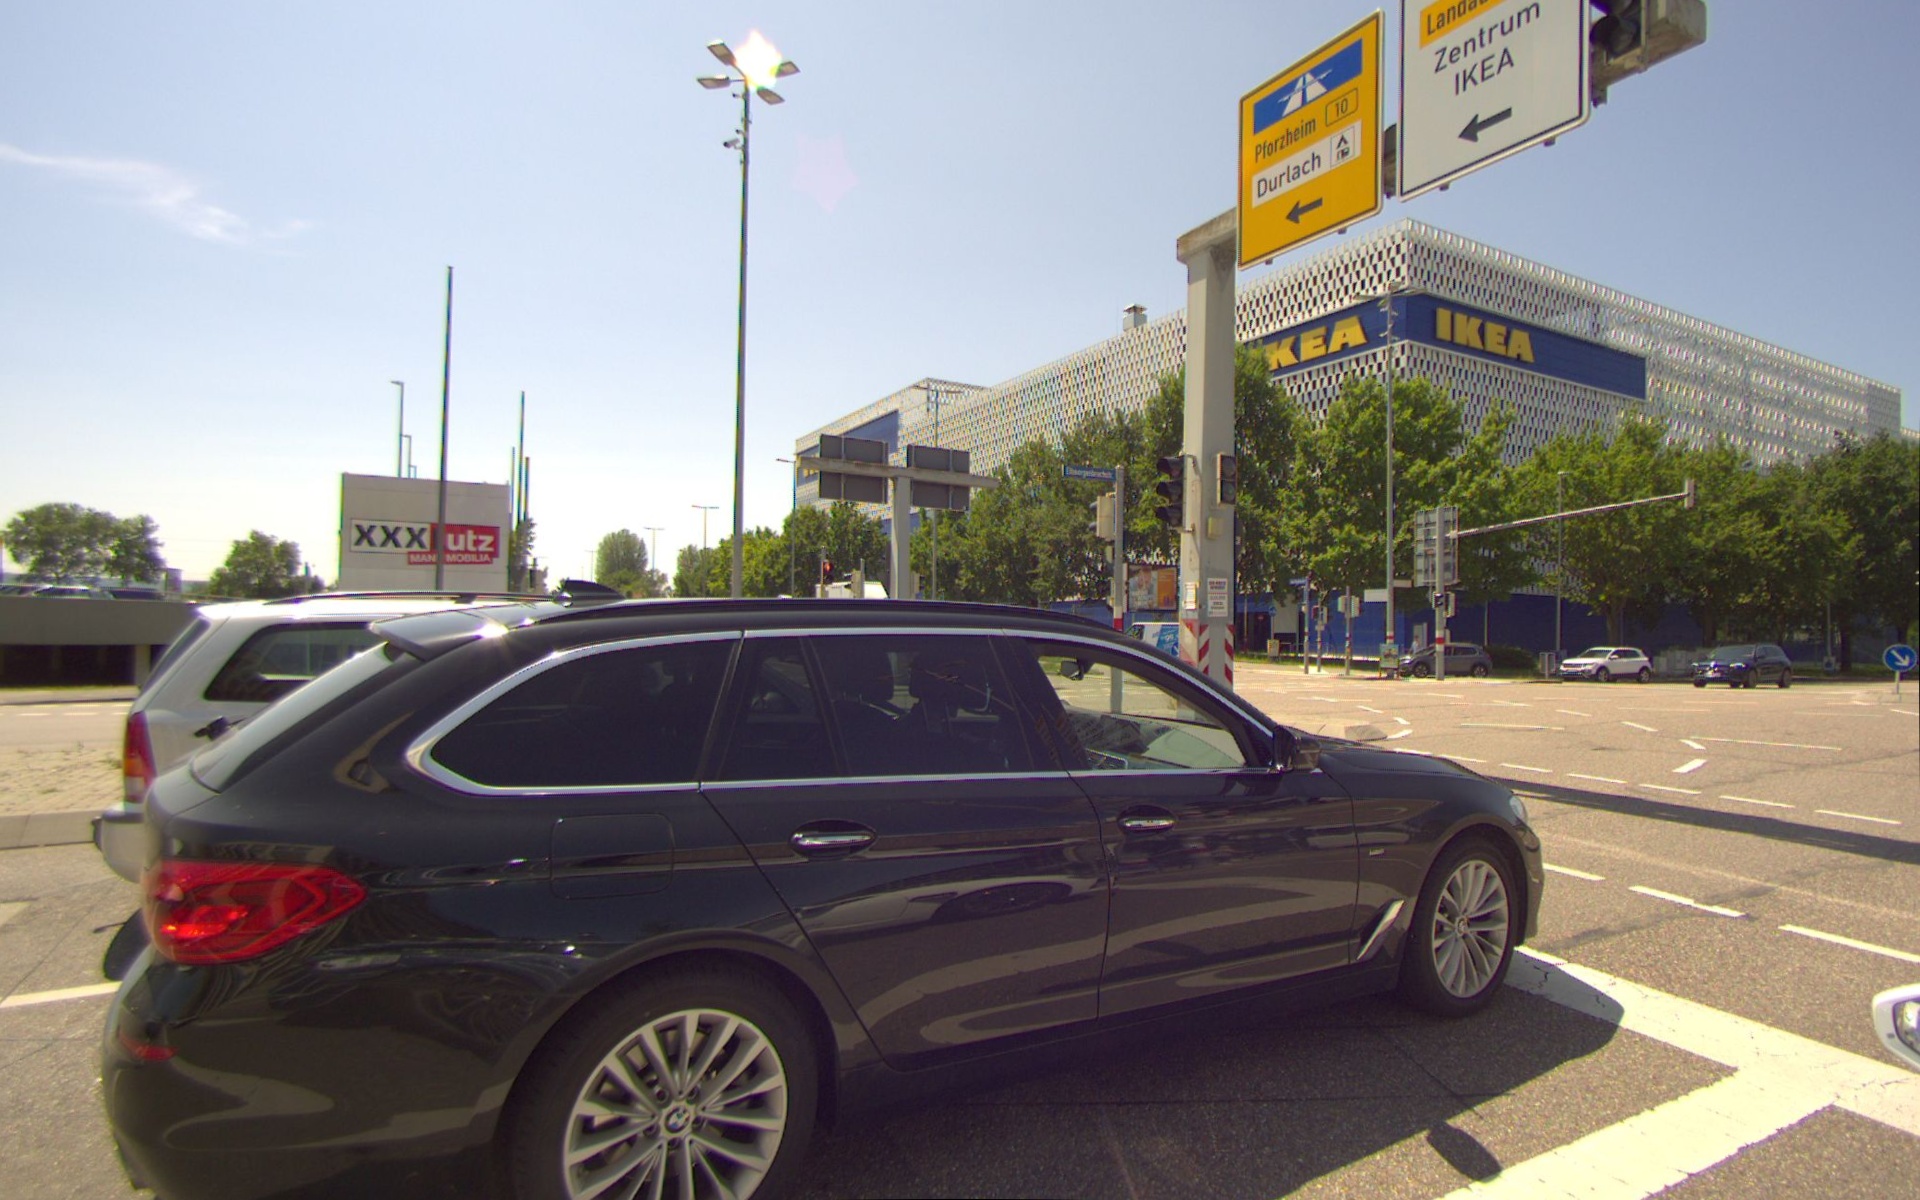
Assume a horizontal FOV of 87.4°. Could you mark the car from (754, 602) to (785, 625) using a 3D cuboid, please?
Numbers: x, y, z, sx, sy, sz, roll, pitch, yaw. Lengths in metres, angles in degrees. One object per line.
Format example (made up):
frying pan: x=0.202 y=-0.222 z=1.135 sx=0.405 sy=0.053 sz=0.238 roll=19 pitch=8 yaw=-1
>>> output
car: x=-17.661 y=1.252 z=92.938 sx=1.972 sy=2.040 sz=3.978 roll=2 pitch=-2 yaw=-23

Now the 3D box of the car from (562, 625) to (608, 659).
car: x=-23.558 y=2.598 z=62.993 sx=1.815 sy=2.040 sz=3.963 roll=2 pitch=-2 yaw=-34

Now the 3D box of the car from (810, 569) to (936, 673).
car: x=-3.413 y=0.773 z=37.492 sx=2.156 sy=3.532 sz=6.875 roll=0 pitch=-1 yaw=-28

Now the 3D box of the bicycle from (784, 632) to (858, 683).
bicycle: x=-3.499 y=1.414 z=25.094 sx=0.987 sy=1.229 sz=2.079 roll=2 pitch=-2 yaw=-35

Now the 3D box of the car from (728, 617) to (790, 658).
car: x=-10.633 y=1.978 z=52.994 sx=1.975 sy=2.040 sz=4.681 roll=2 pitch=-2 yaw=-27

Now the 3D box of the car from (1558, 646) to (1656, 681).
car: x=28.707 y=2.813 z=44.588 sx=4.010 sy=1.476 sz=1.619 roll=2 pitch=-2 yaw=-21

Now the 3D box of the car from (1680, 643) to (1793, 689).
car: x=29.187 y=2.464 z=37.738 sx=4.444 sy=1.619 sz=1.866 roll=2 pitch=-3 yaw=-30

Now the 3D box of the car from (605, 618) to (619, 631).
car: x=-56.722 y=3.990 z=163.761 sx=1.971 sy=2.040 sz=3.979 roll=2 pitch=-2 yaw=-22

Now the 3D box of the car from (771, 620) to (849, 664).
car: x=-6.796 y=1.862 z=45.016 sx=1.973 sy=1.835 sz=5.438 roll=1 pitch=-2 yaw=-25

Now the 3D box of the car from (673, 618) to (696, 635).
car: x=-34.984 y=3.368 z=127.473 sx=1.974 sy=2.040 sz=3.973 roll=2 pitch=-3 yaw=-27

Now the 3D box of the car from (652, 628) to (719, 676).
car: x=-9.573 y=1.776 z=34.839 sx=1.904 sy=1.528 sz=3.982 roll=1 pitch=-2 yaw=-20

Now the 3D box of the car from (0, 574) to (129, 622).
car: x=-39.355 y=-0.037 z=44.218 sx=3.953 sy=1.957 sz=1.984 roll=2 pitch=-2 yaw=-30

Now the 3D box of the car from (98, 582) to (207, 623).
car: x=-40.321 y=0.174 z=50.273 sx=3.956 sy=1.933 sz=1.983 roll=2 pitch=-2 yaw=-32

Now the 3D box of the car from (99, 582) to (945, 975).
car: x=-2.217 y=0.745 z=5.777 sx=3.961 sy=1.514 sz=1.785 roll=2 pitch=-1 yaw=-36

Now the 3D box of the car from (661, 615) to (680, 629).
car: x=-44.157 y=3.302 z=153.226 sx=1.974 sy=2.040 sz=3.972 roll=2 pitch=-1 yaw=-27

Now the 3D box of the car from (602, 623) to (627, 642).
car: x=-37.138 y=3.468 z=107.850 sx=1.906 sy=2.040 sz=3.971 roll=2 pitch=-2 yaw=-28

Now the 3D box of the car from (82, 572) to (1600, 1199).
car: x=0.116 y=0.749 z=3.554 sx=4.570 sy=1.485 sz=1.791 roll=1 pitch=-1 yaw=-31

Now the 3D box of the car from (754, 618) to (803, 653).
car: x=-11.228 y=2.191 z=61.941 sx=1.974 sy=2.014 sz=3.974 roll=2 pitch=-3 yaw=-26

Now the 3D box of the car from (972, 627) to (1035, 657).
car: x=2.169 y=2.135 z=51.539 sx=1.648 sy=1.429 sz=4.215 roll=3 pitch=-2 yaw=-22

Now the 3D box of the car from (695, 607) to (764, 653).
car: x=-13.862 y=1.817 z=60.032 sx=2.542 sy=2.568 sz=6.587 roll=2 pitch=-2 yaw=-26

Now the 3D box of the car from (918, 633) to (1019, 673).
car: x=0.235 y=1.886 z=36.663 sx=1.756 sy=1.360 sz=4.262 roll=1 pitch=-2 yaw=-30

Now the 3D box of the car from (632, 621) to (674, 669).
car: x=-13.930 y=2.001 z=45.490 sx=1.594 sy=2.040 sz=3.863 roll=1 pitch=-2 yaw=-20

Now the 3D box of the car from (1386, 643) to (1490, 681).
car: x=20.737 y=2.678 z=43.670 sx=3.679 sy=1.553 sz=1.777 roll=1 pitch=-2 yaw=4

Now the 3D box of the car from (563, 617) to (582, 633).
car: x=-69.658 y=4.505 z=180.737 sx=2.877 sy=2.724 sz=6.126 roll=2 pitch=-2 yaw=-24

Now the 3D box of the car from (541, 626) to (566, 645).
car: x=-36.482 y=3.180 z=90.079 sx=1.718 sy=1.708 sz=3.642 roll=2 pitch=-2 yaw=-28

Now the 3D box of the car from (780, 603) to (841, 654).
car: x=-8.250 y=1.577 z=55.142 sx=2.032 sy=2.665 sz=4.652 roll=0 pitch=-2 yaw=-26

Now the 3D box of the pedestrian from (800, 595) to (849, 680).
pedestrian: x=-3.361 y=0.928 z=24.890 sx=0.856 sy=2.040 sz=0.899 roll=1 pitch=-2 yaw=-35

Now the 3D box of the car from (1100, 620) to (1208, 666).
car: x=9.125 y=1.999 z=47.334 sx=4.673 sy=2.034 sz=1.999 roll=0 pitch=-2 yaw=24
